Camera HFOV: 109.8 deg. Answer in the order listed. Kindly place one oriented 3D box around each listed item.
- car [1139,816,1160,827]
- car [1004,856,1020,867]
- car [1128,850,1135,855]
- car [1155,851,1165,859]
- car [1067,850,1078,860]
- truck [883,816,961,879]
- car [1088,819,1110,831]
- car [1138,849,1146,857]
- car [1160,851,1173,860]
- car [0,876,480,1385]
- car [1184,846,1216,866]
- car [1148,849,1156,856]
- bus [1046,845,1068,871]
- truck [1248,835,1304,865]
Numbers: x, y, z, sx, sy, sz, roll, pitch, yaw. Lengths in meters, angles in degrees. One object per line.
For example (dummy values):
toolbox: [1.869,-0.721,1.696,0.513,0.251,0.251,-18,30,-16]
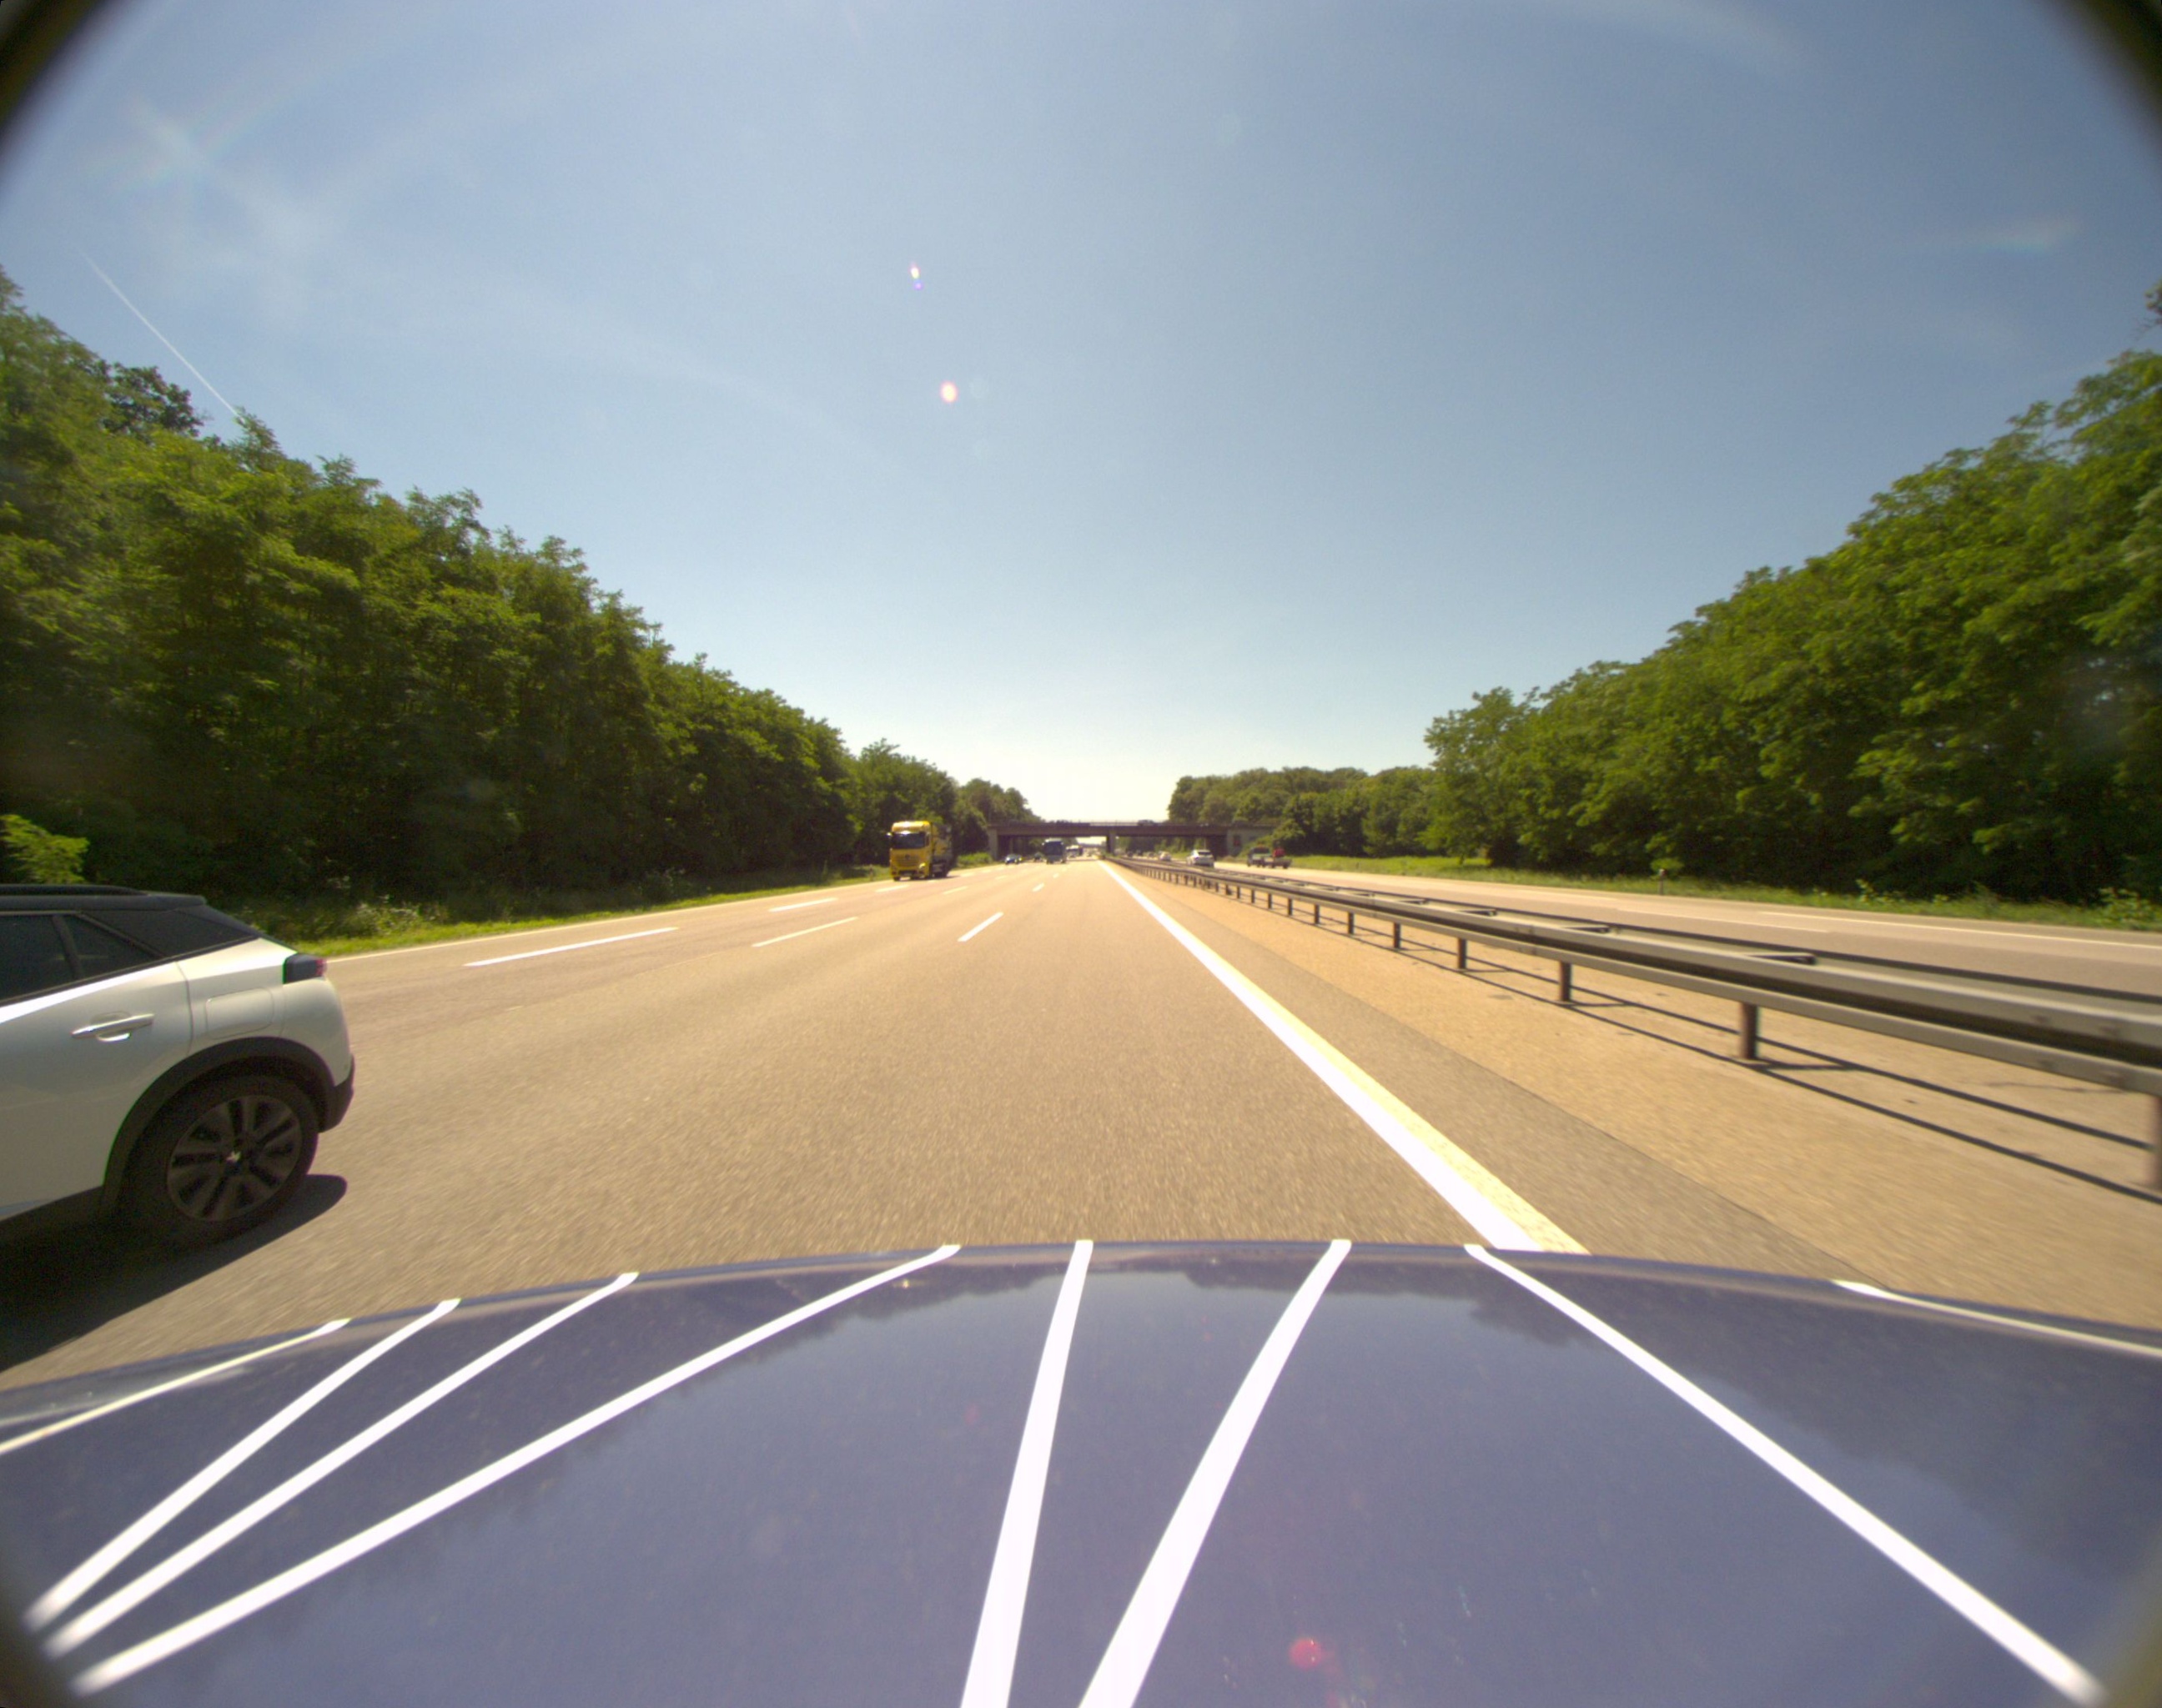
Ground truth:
car: [13.554,-6.520,150.826,3.998,2.002,1.999,-2,1,-2]
car: [-10.383,1.111,114.236,1.875,1.547,4.201,-2,1,1]
car: [15.753,-0.429,237.686,1.744,1.709,4.639,0,1,1]
car: [18.790,0.298,180.460,1.745,1.753,5.085,0,1,-1]
car: [-2.217,0.241,205.326,2.616,2.389,7.122,-2,1,0]
truck: [-11.351,-0.459,55.580,2.982,4.013,10.981,-3,1,1]
car: [3.412,-5.448,142.937,3.998,2.002,1.999,-2,1,-2]
car: [21.267,-0.388,265.576,2.094,2.385,5.733,-2,1,-1]
car: [14.520,0.224,129.046,1.692,1.535,4.204,-2,1,1]
car: [-4.495,0.976,2.062,1.831,1.599,4.808,-1,1,0]
car: [10.506,0.186,67.342,1.998,1.696,5.265,-2,0,1]
car: [19.480,-0.325,208.438,1.744,1.795,4.934,0,1,1]
bus: [-3.503,0.510,113.111,2.617,3.532,13.681,-2,1,0]
truck: [20.498,-0.461,80.638,2.760,2.973,12.854,0,1,1]
